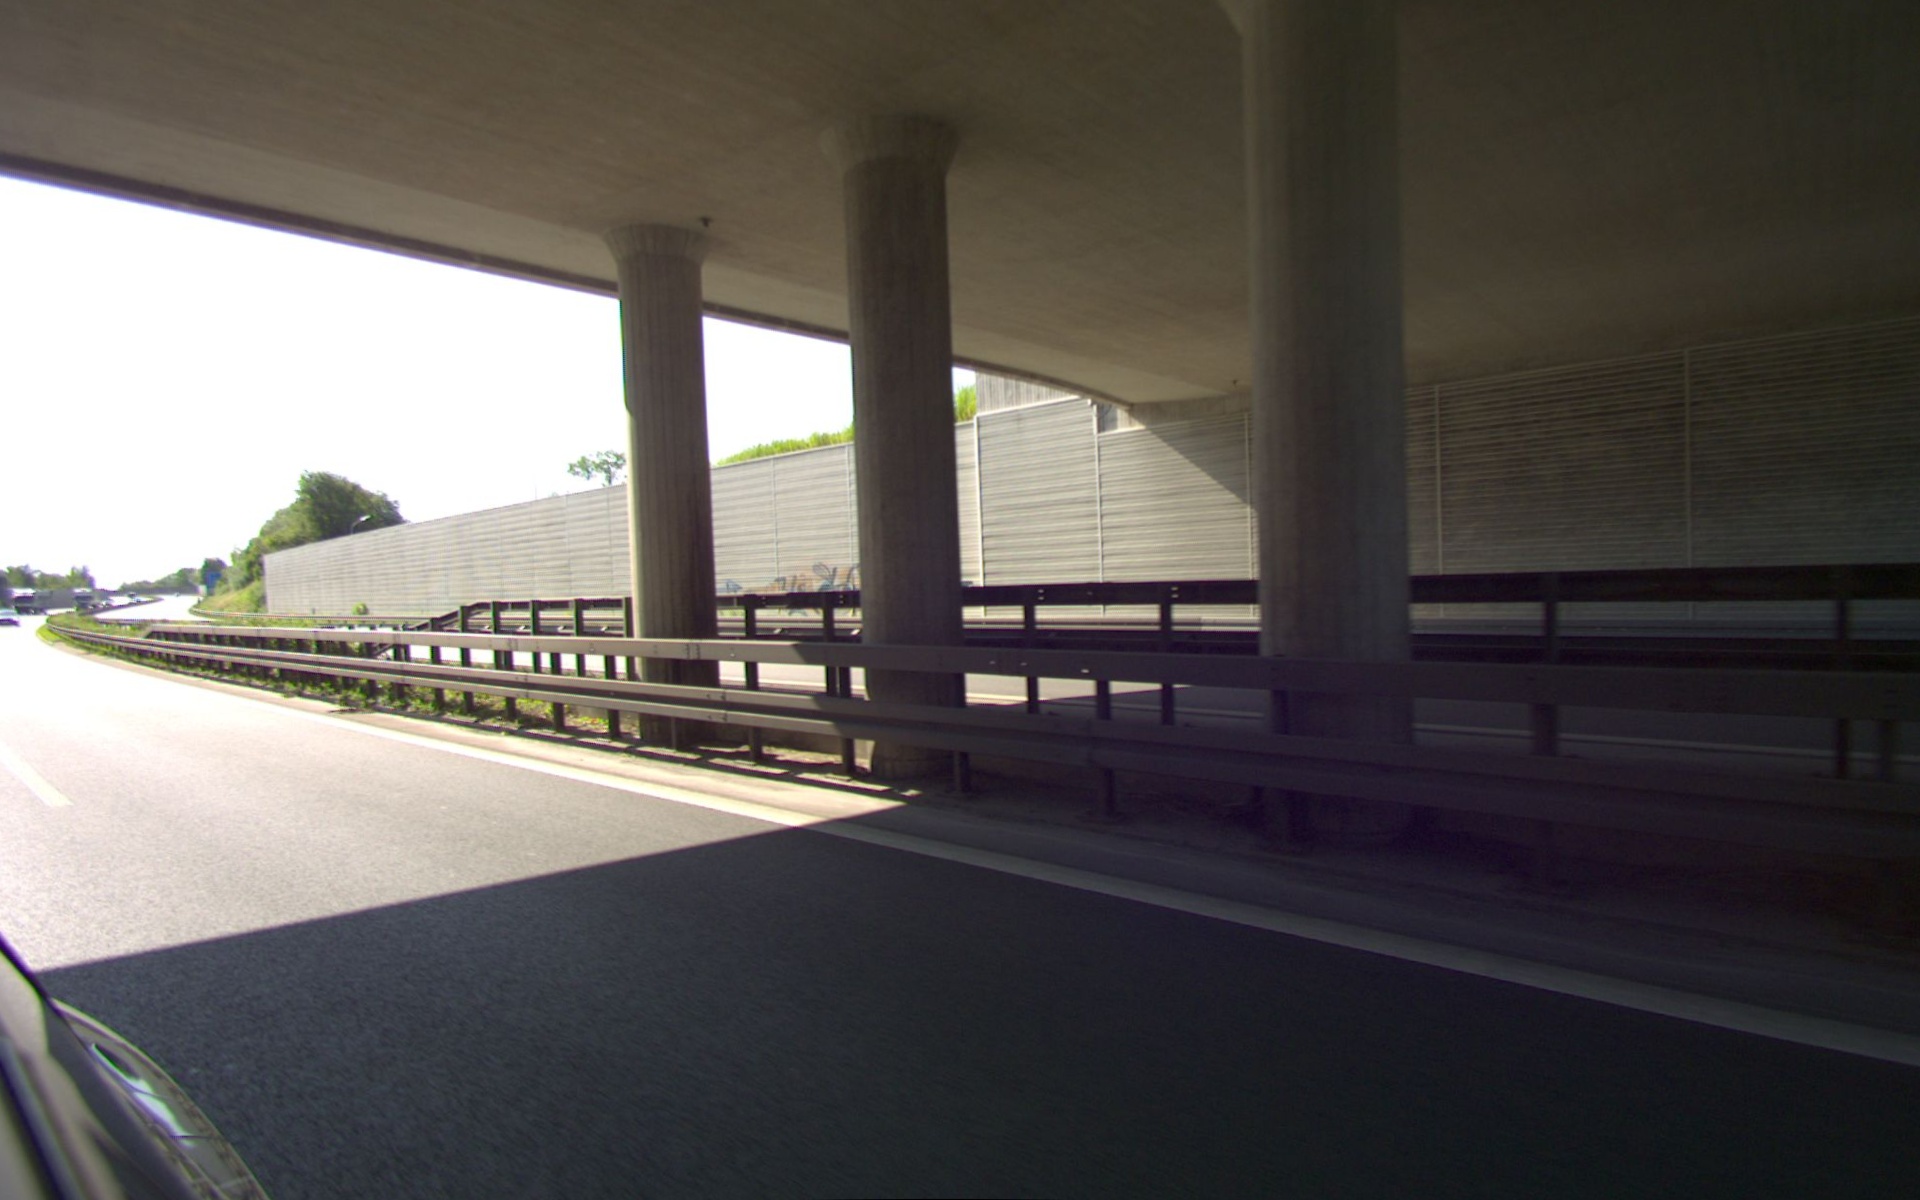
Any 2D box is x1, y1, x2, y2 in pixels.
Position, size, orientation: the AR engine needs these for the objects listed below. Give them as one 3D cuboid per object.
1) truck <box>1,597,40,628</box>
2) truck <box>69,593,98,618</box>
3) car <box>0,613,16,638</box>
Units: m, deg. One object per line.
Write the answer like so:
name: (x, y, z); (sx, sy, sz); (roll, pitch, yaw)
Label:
truck: (-137.105, 1.738, 147.822); (3.383, 4.243, 12.106); (-1, 0, -40)
truck: (-158.227, 0.953, 182.792); (3.382, 4.243, 12.109); (-1, 0, -39)
car: (-82.520, 2.221, 86.976); (1.970, 2.029, 4.603); (0, -2, -43)
